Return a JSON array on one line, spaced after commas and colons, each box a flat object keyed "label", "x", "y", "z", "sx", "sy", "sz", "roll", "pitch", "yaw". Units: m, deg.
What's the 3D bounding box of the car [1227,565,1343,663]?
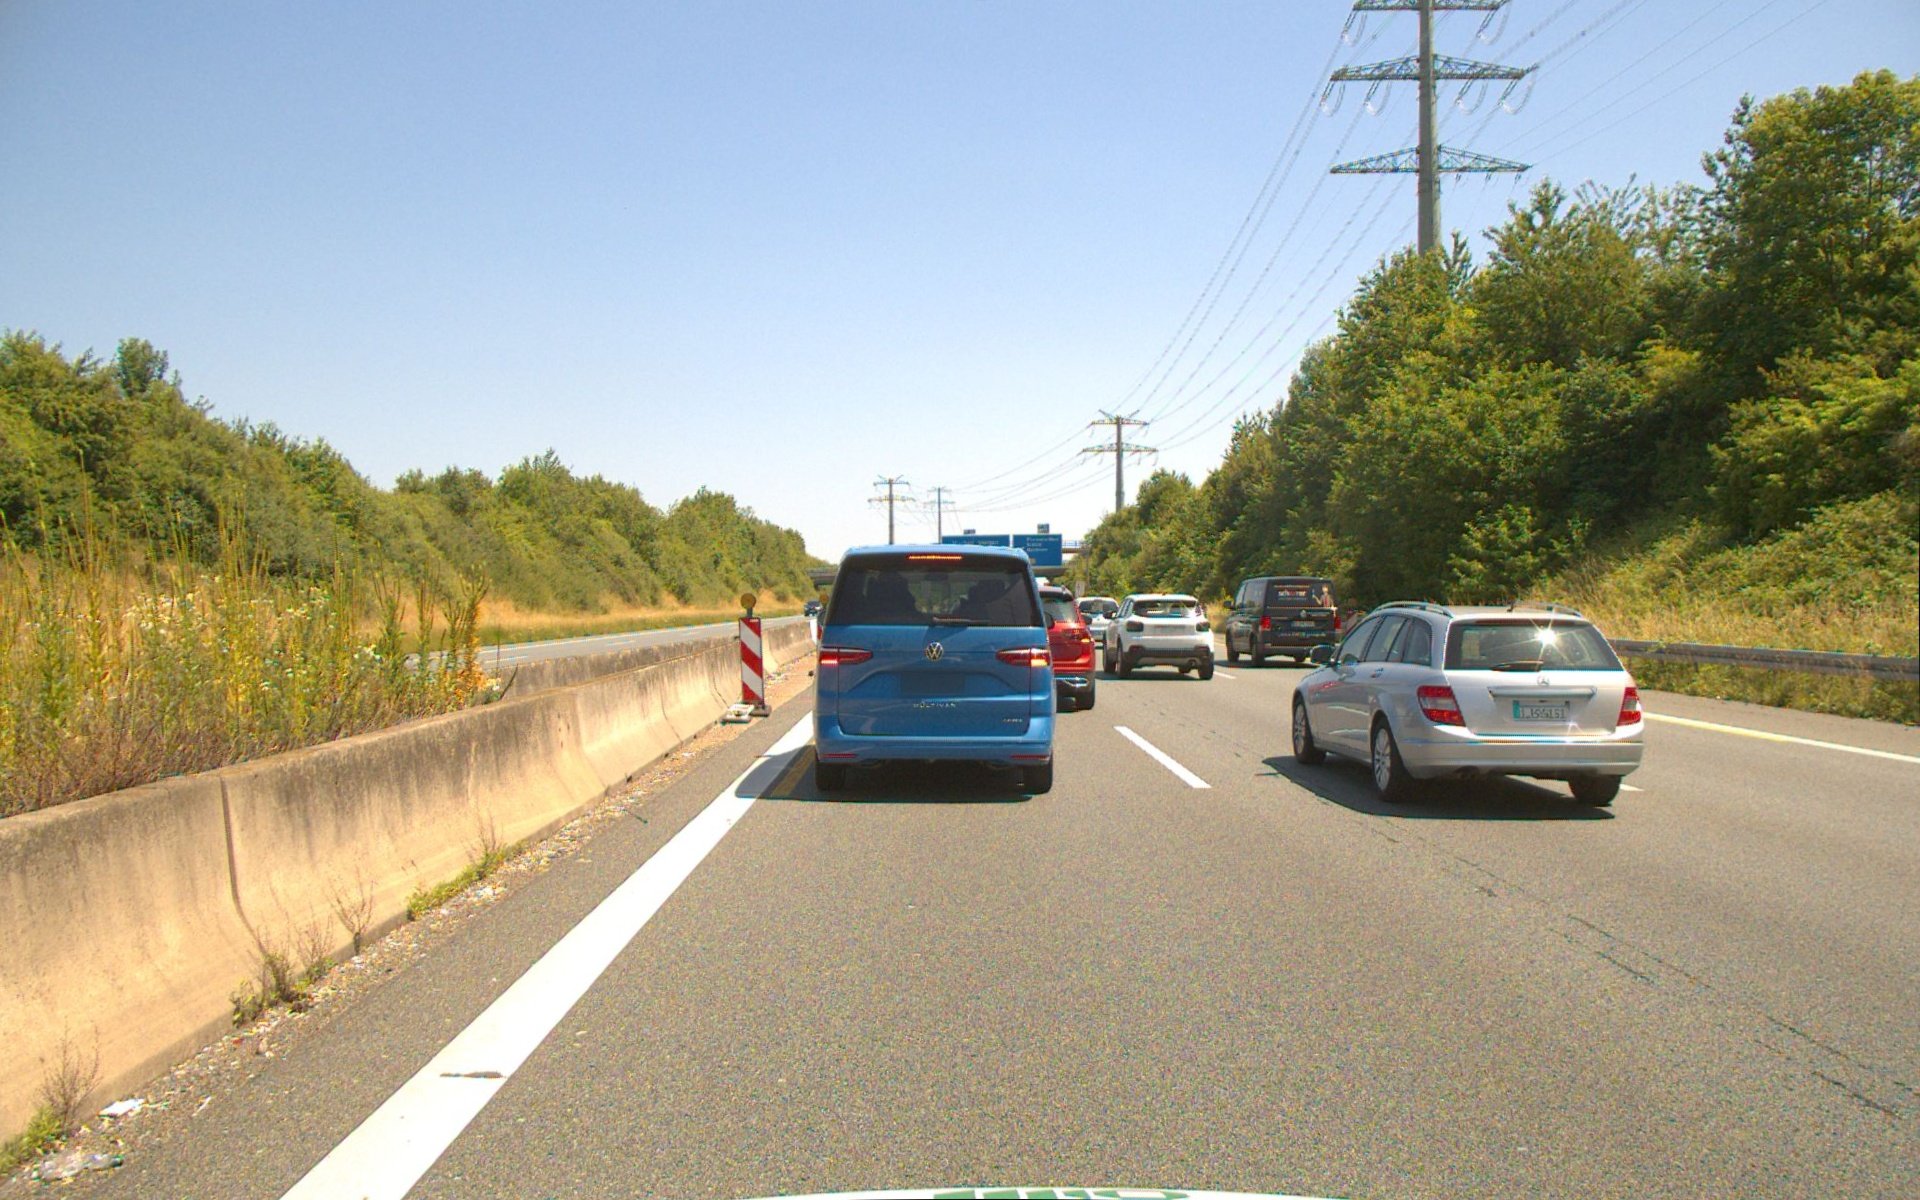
[{"label": "car", "x": 7.253, "y": 0.296, "z": 37.320, "sx": 1.761, "sy": 2.049, "sz": 4.227, "roll": 1, "pitch": 0, "yaw": 0}]

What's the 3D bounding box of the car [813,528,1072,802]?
[{"label": "car", "x": -0.183, "y": 0.474, "z": 14.103, "sx": 1.837, "sy": 1.945, "sz": 4.358, "roll": 1, "pitch": 0, "yaw": -2}]

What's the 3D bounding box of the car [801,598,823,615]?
[{"label": "car", "x": -16.278, "y": 0.714, "z": 181.606, "sx": 1.953, "sy": 1.678, "sz": 4.629, "roll": -3, "pitch": 0, "yaw": -1}]

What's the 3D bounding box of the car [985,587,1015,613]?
[{"label": "car", "x": 2.592, "y": 0.028, "z": 107.750, "sx": 1.761, "sy": 1.622, "sz": 4.226, "roll": 1, "pitch": 0, "yaw": -1}]

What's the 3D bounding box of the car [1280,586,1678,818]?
[{"label": "car", "x": 3.943, "y": 0.697, "z": 13.390, "sx": 1.735, "sy": 1.544, "sz": 4.358, "roll": 1, "pitch": 0, "yaw": -2}]

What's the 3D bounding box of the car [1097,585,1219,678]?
[{"label": "car", "x": 3.705, "y": 0.569, "z": 31.636, "sx": 1.761, "sy": 1.622, "sz": 4.226, "roll": 1, "pitch": 0, "yaw": -1}]

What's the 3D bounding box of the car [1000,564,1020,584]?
[{"label": "car", "x": 6.446, "y": -3.297, "z": 214.165, "sx": 2.329, "sy": 2.470, "sz": 4.226, "roll": 1, "pitch": 0, "yaw": -1}]

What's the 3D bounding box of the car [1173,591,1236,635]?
[{"label": "car", "x": 9.495, "y": 0.497, "z": 64.478, "sx": 1.761, "sy": 1.622, "sz": 4.226, "roll": 1, "pitch": 0, "yaw": -1}]

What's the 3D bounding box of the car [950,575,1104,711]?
[{"label": "car", "x": 0.845, "y": 0.550, "z": 23.254, "sx": 1.837, "sy": 1.700, "sz": 4.358, "roll": 1, "pitch": 0, "yaw": -2}]

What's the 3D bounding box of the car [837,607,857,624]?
[{"label": "car", "x": -12.148, "y": 1.665, "z": 177.989, "sx": 1.953, "sy": 1.691, "sz": 4.229, "roll": -1, "pitch": 0, "yaw": -1}]

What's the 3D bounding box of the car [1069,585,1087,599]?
[{"label": "car", "x": 15.063, "y": -0.975, "z": 210.881, "sx": 1.837, "sy": 1.700, "sz": 4.358, "roll": 1, "pitch": 0, "yaw": -2}]

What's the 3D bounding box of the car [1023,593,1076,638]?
[{"label": "car", "x": 3.404, "y": 0.572, "z": 63.518, "sx": 1.761, "sy": 1.622, "sz": 4.226, "roll": 1, "pitch": 0, "yaw": -1}]

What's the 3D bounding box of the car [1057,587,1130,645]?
[{"label": "car", "x": 3.960, "y": 0.464, "z": 49.476, "sx": 1.761, "sy": 1.622, "sz": 4.226, "roll": 1, "pitch": 0, "yaw": -1}]
